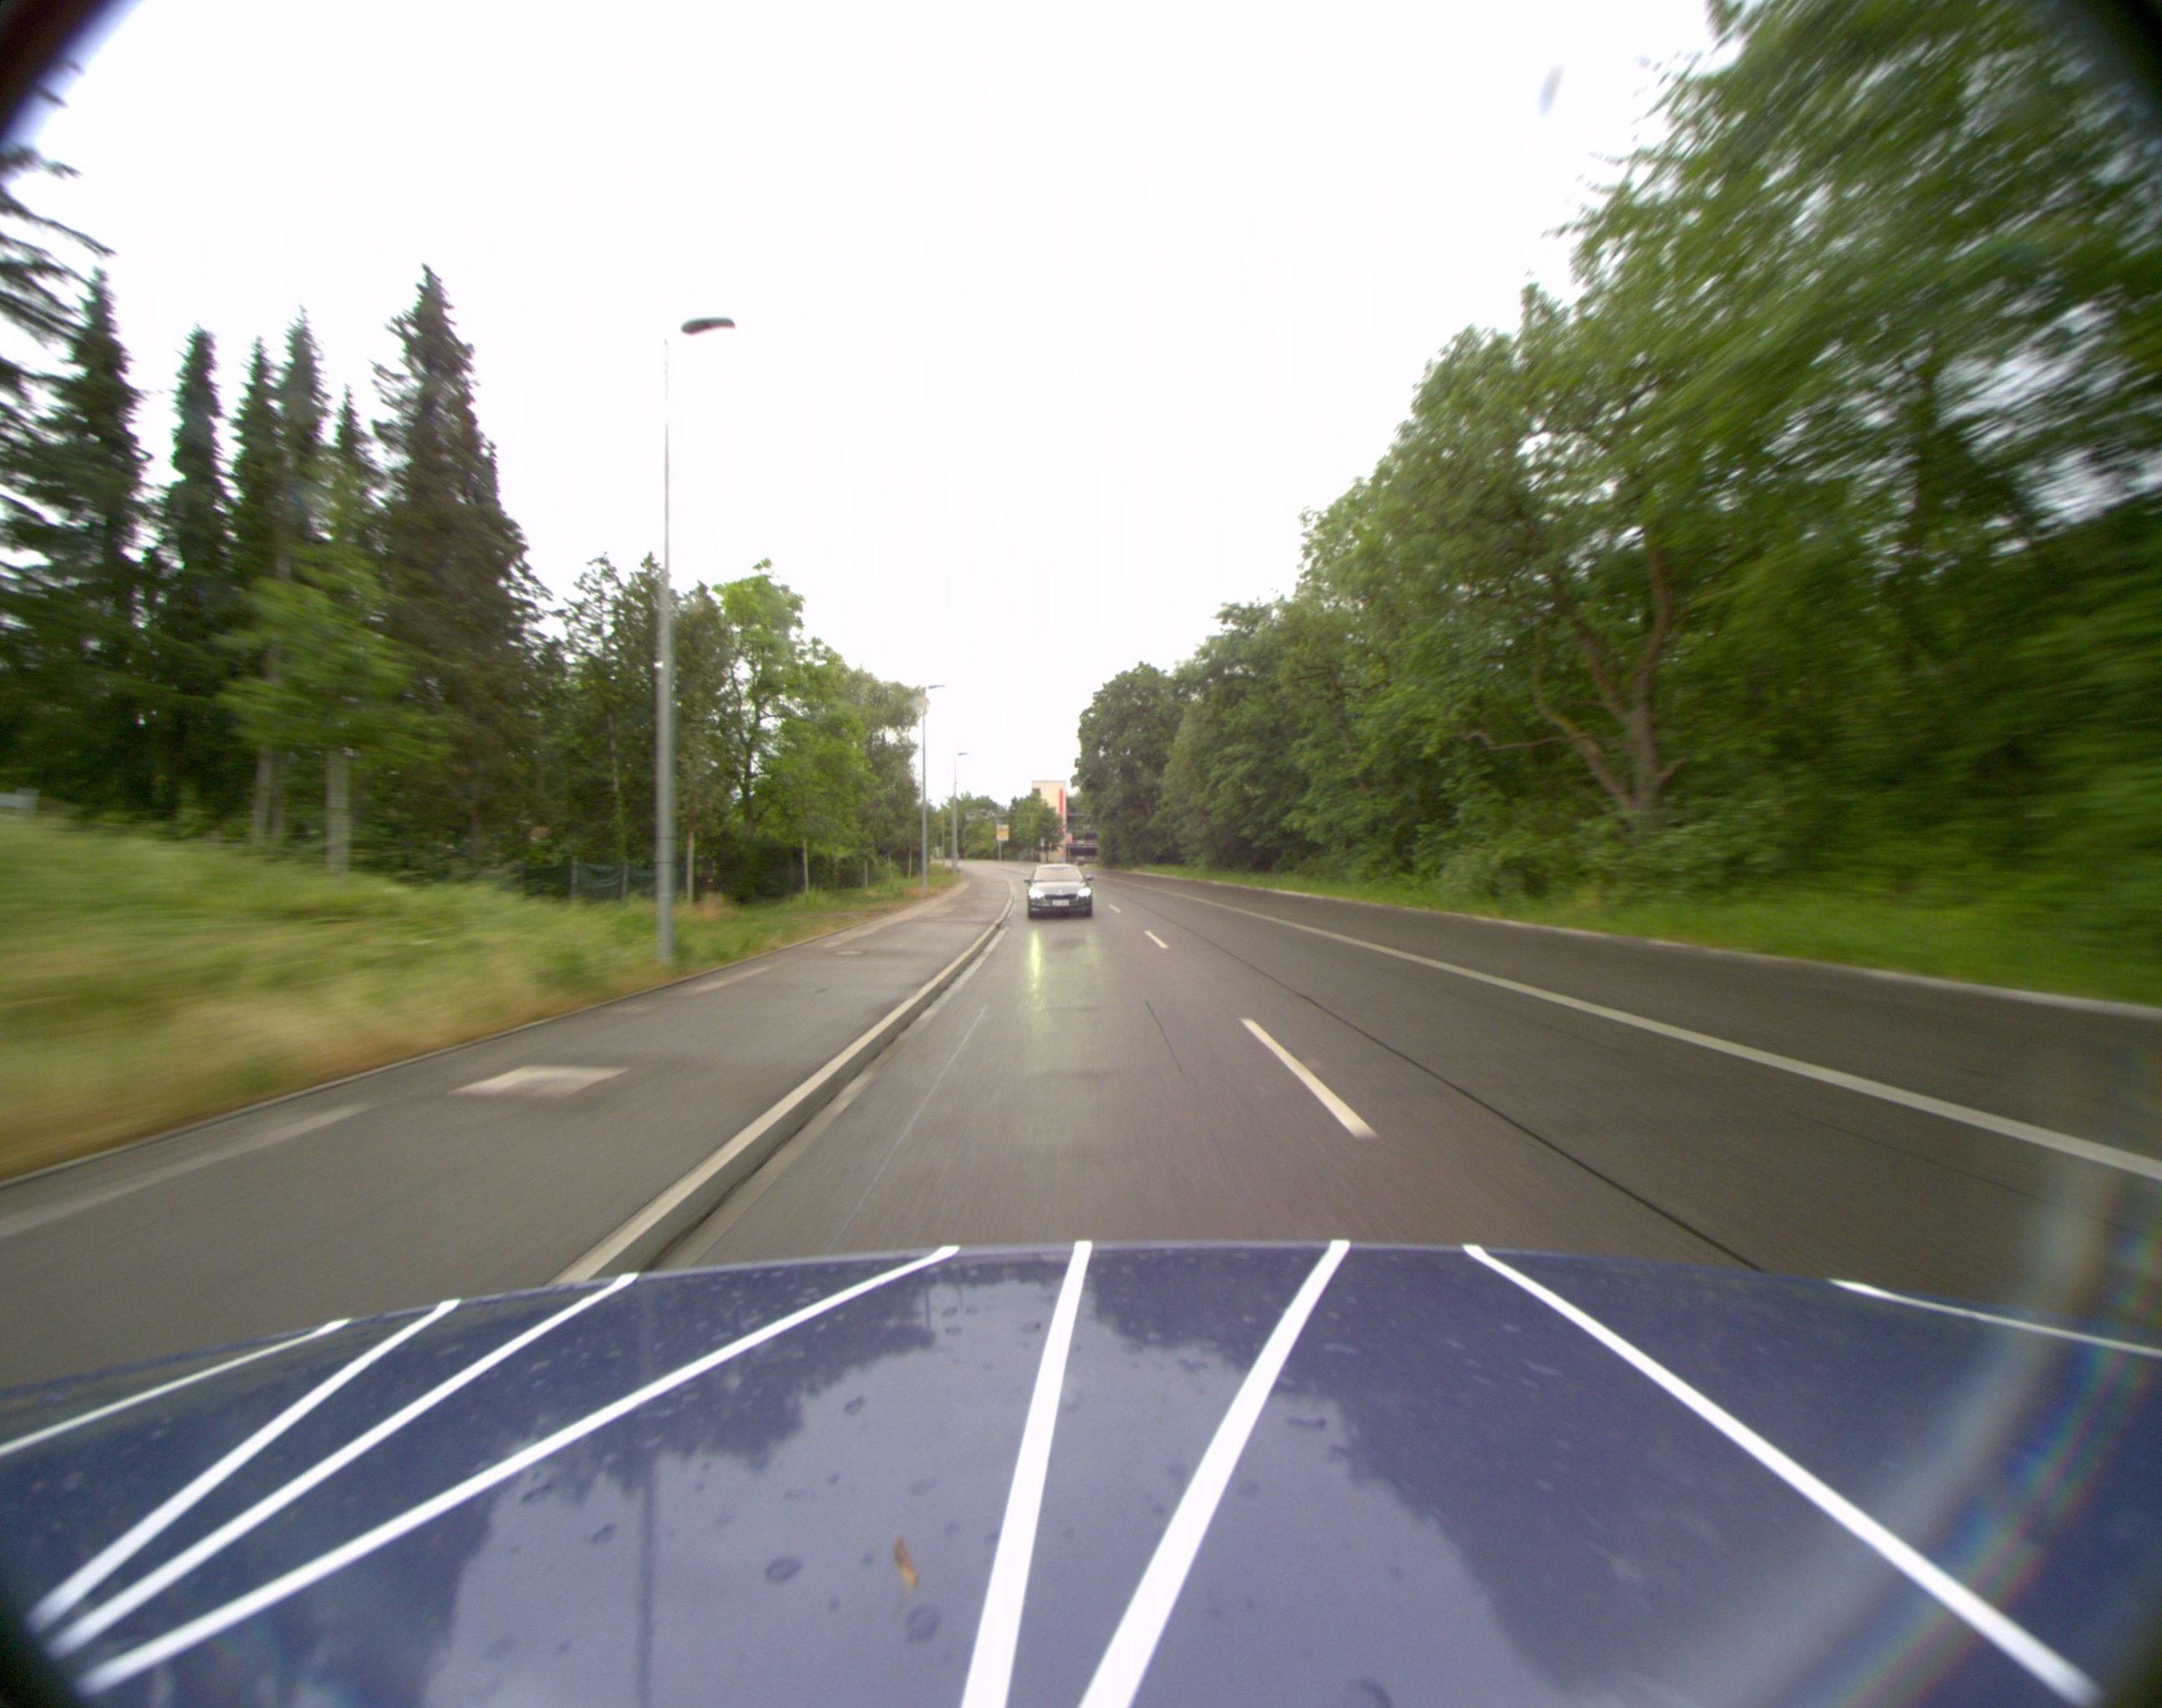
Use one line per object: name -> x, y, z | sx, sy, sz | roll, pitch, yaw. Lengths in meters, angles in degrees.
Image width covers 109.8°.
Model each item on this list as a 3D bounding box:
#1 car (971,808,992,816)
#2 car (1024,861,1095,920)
car -> -20.788, -8.691, 158.828 | 3.996, 1.510, 2.000 | 1, 1, 4
car -> -0.580, 0.981, 22.208 | 1.839, 1.448, 4.201 | -2, 1, 0
